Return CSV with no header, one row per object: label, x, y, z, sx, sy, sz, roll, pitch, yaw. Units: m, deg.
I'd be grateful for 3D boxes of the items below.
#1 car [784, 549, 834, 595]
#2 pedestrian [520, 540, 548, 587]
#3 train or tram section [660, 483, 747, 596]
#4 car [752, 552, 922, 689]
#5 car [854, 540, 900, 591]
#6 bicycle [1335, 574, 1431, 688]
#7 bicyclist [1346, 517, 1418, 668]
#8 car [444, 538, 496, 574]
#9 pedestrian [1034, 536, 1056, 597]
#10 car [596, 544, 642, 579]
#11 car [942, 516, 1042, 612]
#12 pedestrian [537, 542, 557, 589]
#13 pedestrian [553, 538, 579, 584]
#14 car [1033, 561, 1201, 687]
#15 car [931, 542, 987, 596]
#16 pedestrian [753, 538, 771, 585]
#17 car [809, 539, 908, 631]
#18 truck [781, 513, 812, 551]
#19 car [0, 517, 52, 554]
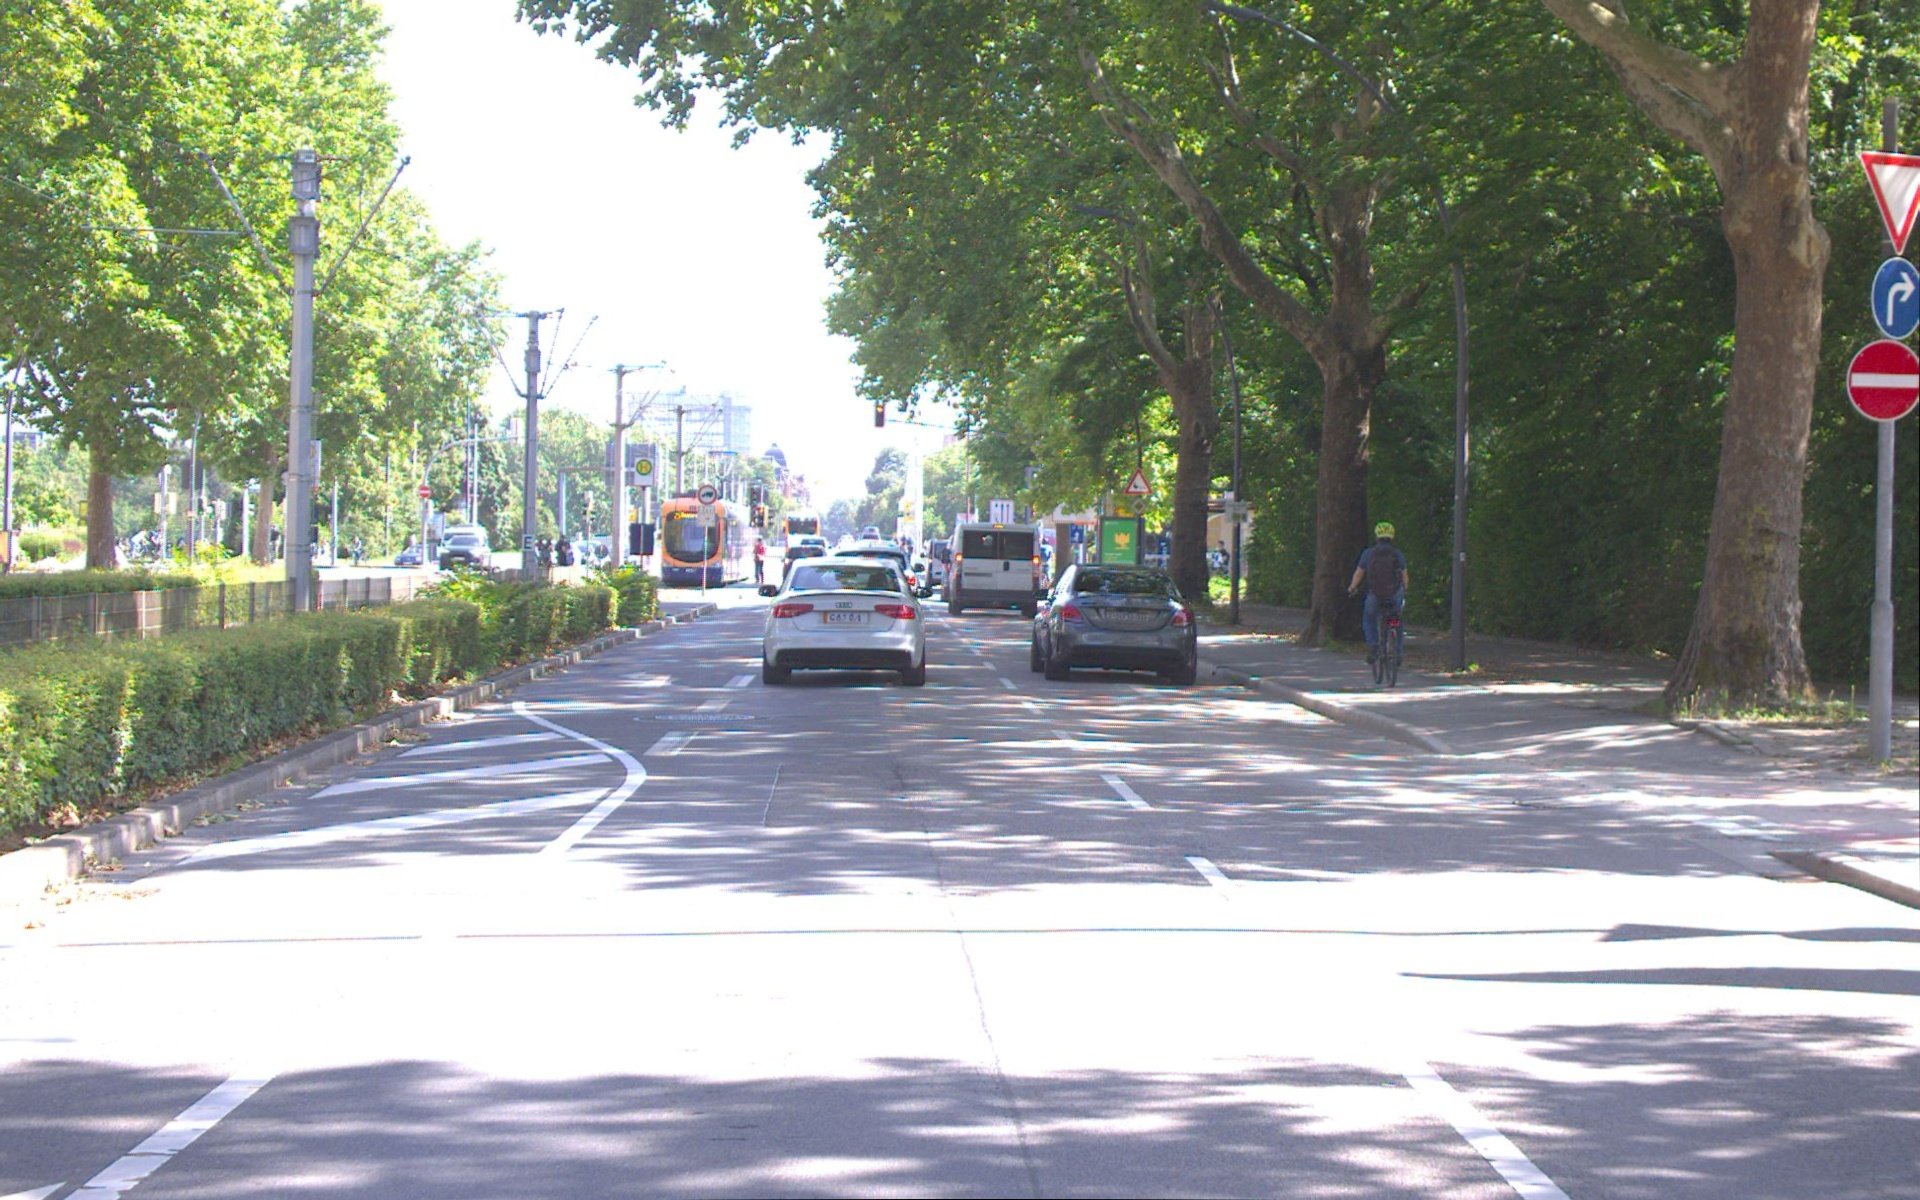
car,-5.675,-1.062,129.377,1.729,1.625,4.000,2,1,-1
pedestrian,-14.884,-1.276,120.061,0.757,1.617,0.595,2,1,-26
train or tram section,-9.452,-2.214,127.398,2.616,4.001,7.749,2,1,-1
car,-1.353,0.198,38.892,1.784,1.416,3.885,2,1,-1
car,-3.192,-1.349,132.767,1.729,1.895,4.000,2,1,-1
bicycle,4.735,0.331,38.612,0.714,1.144,2.179,-1,3,-2
bicyclist,4.727,-0.093,38.574,0.634,1.642,0.979,-1,2,-2
car,-23.214,-2.069,162.910,1.830,1.618,4.897,2,1,-1
pedestrian,2.733,-1.088,110.994,0.635,1.939,0.719,2,0,-1
car,-17.777,-2.002,179.212,1.993,1.728,4.000,2,1,-1
car,0.744,-0.868,82.849,2.230,2.204,4.162,2,1,-1
pedestrian,-14.731,-1.232,122.719,0.593,1.641,0.554,2,0,-1
pedestrian,-14.832,-1.468,129.448,0.775,1.728,0.754,2,1,8
car,1.885,0.258,42.393,1.782,1.415,4.000,2,1,-1
car,-0.051,-1.201,133.543,2.072,1.992,4.058,2,1,-1
pedestrian,-8.036,-1.561,139.531,0.624,1.911,0.690,2,0,-1
car,-1.847,-0.289,63.494,1.729,1.599,3.885,2,1,-1
truck,-12.388,-5.148,260.625,1.993,2.780,8.519,2,1,-1
car,-41.732,-2.823,149.763,3.847,1.543,1.769,2,1,-1
